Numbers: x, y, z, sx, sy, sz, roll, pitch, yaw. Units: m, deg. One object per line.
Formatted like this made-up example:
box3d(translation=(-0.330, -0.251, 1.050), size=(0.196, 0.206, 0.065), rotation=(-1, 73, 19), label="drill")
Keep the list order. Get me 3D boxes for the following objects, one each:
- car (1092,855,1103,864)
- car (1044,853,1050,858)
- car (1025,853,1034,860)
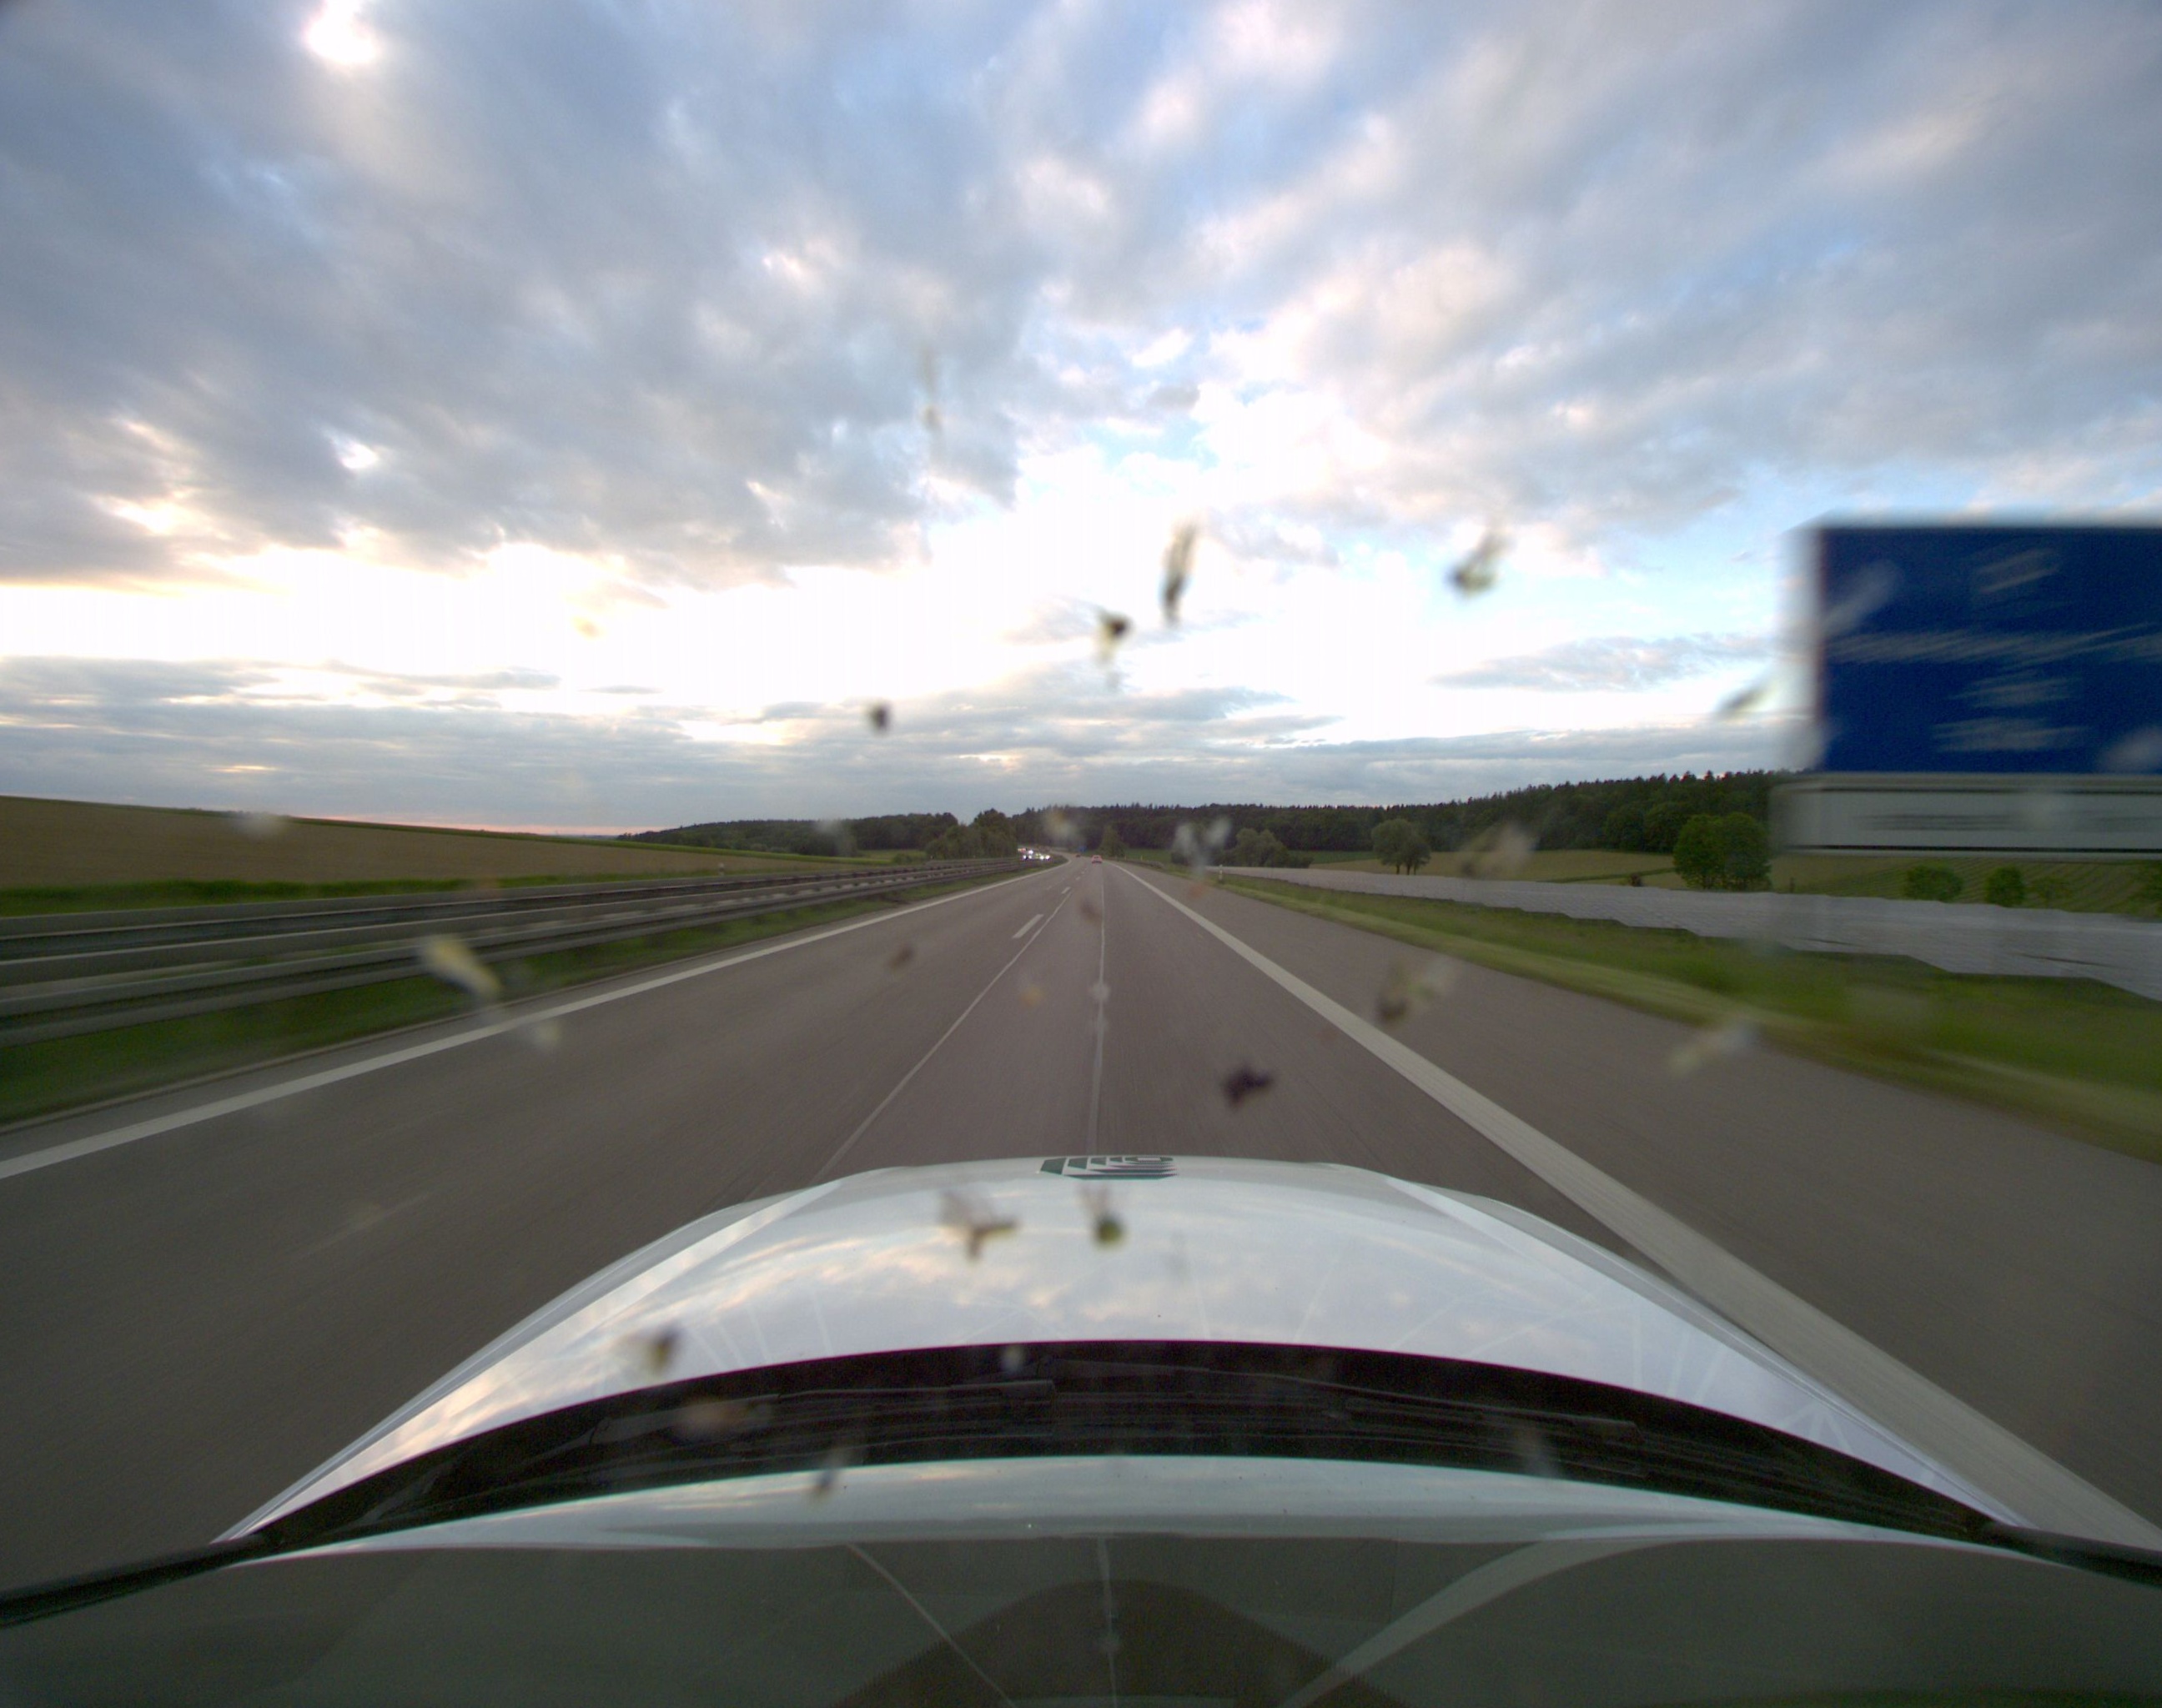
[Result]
box3d(translation=(2.986, 0.956, 151.640), size=(1.945, 1.531, 4.079), rotation=(2, 0, 0), label="car")
box3d(translation=(-9.893, 0.460, 237.335), size=(1.560, 1.365, 4.622), rotation=(2, 0, 2), label="car")
box3d(translation=(-13.705, 0.724, 217.504), size=(1.879, 1.694, 5.770), rotation=(2, -1, 2), label="car")
